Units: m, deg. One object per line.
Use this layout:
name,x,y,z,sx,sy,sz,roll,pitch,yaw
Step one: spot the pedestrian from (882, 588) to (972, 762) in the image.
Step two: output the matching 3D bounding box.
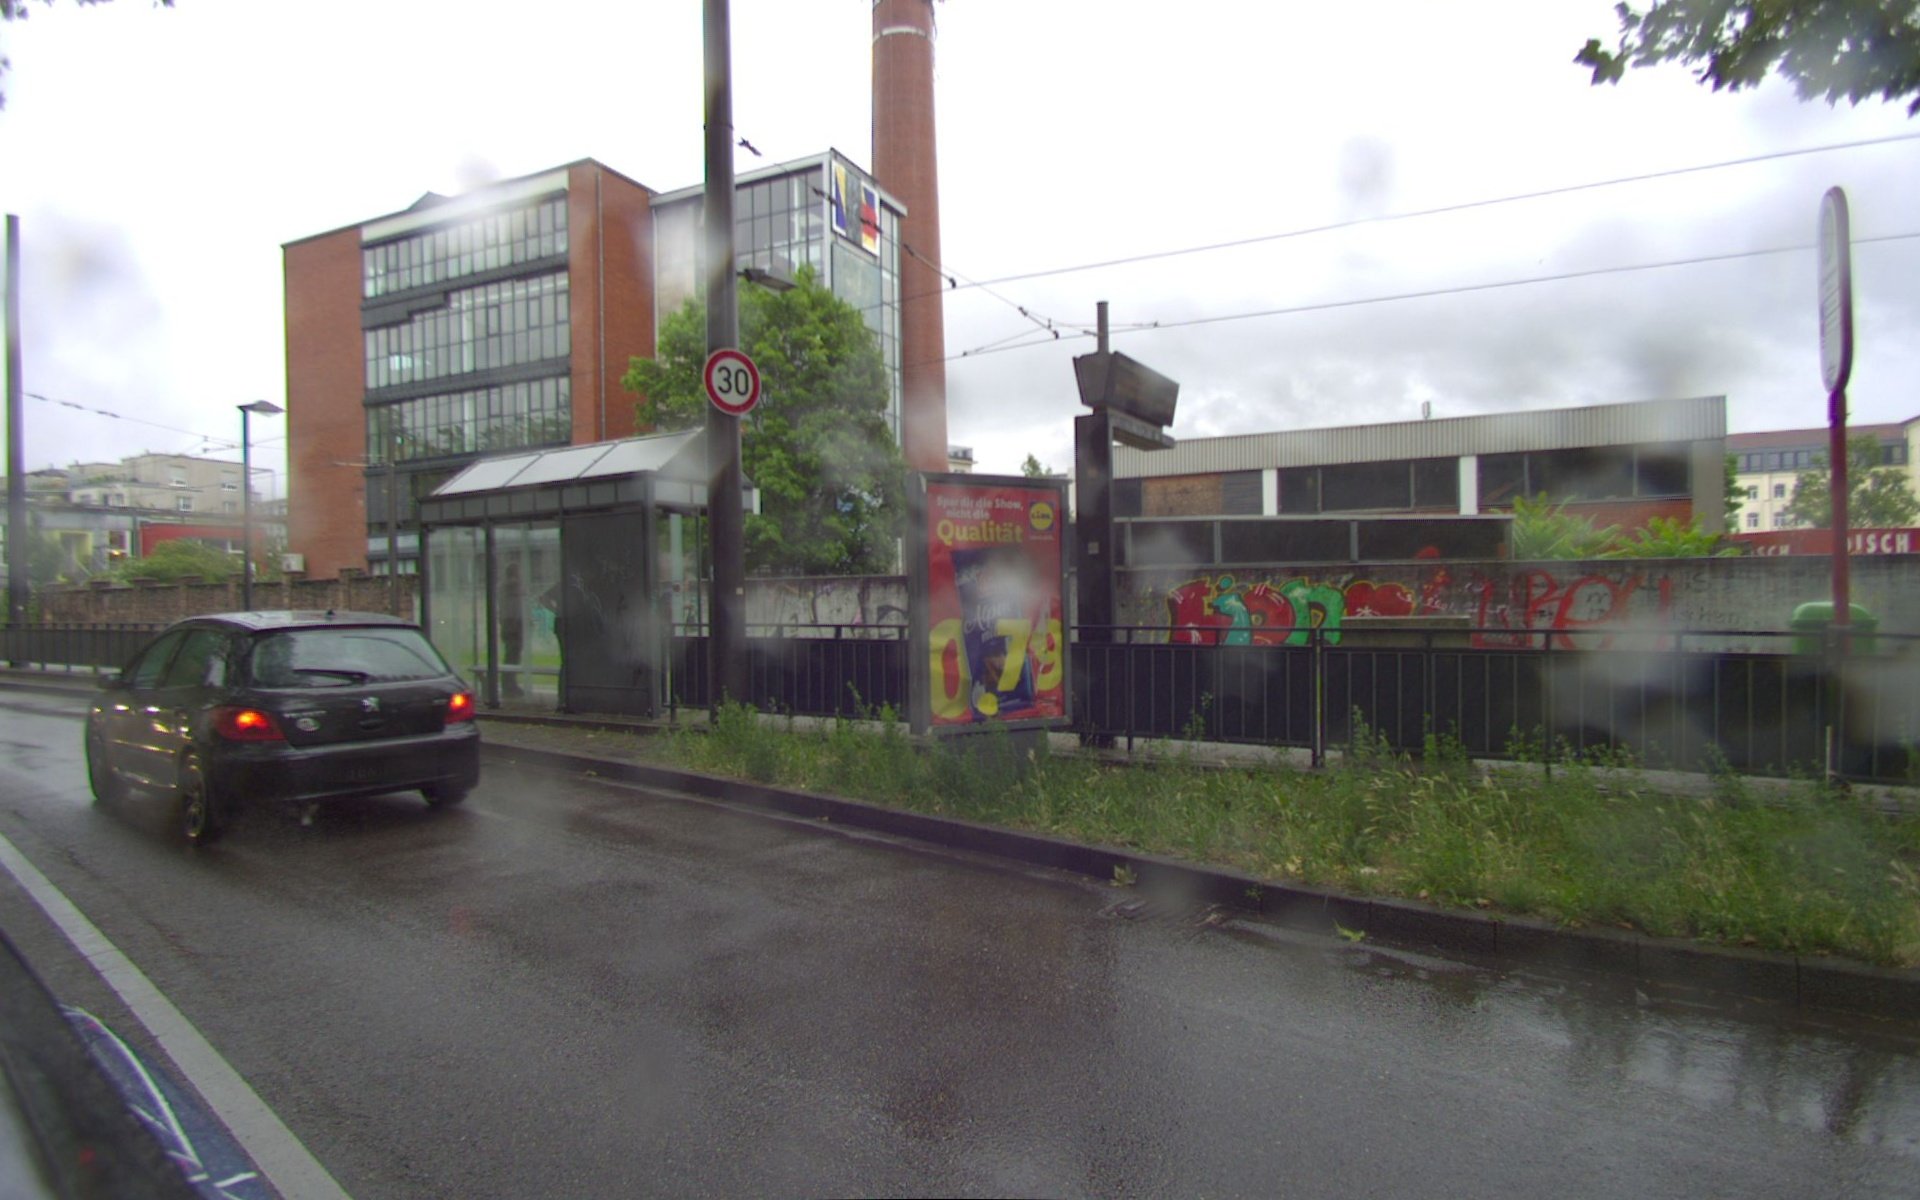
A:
pedestrian,-0.319,0.720,9.894,0.504,1.610,0.790,-4,-4,30

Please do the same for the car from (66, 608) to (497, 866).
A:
car,-5.274,0.817,7.703,3.743,1.470,1.697,-1,0,39

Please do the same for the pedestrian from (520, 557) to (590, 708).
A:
pedestrian,-4.907,0.379,12.261,0.620,1.762,0.565,-1,0,-41

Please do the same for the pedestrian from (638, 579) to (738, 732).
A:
pedestrian,-3.373,0.666,12.563,0.841,1.818,0.819,-1,0,30

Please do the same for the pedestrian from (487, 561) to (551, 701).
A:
pedestrian,-5.735,0.389,13.161,0.620,1.762,0.515,-1,0,-41
